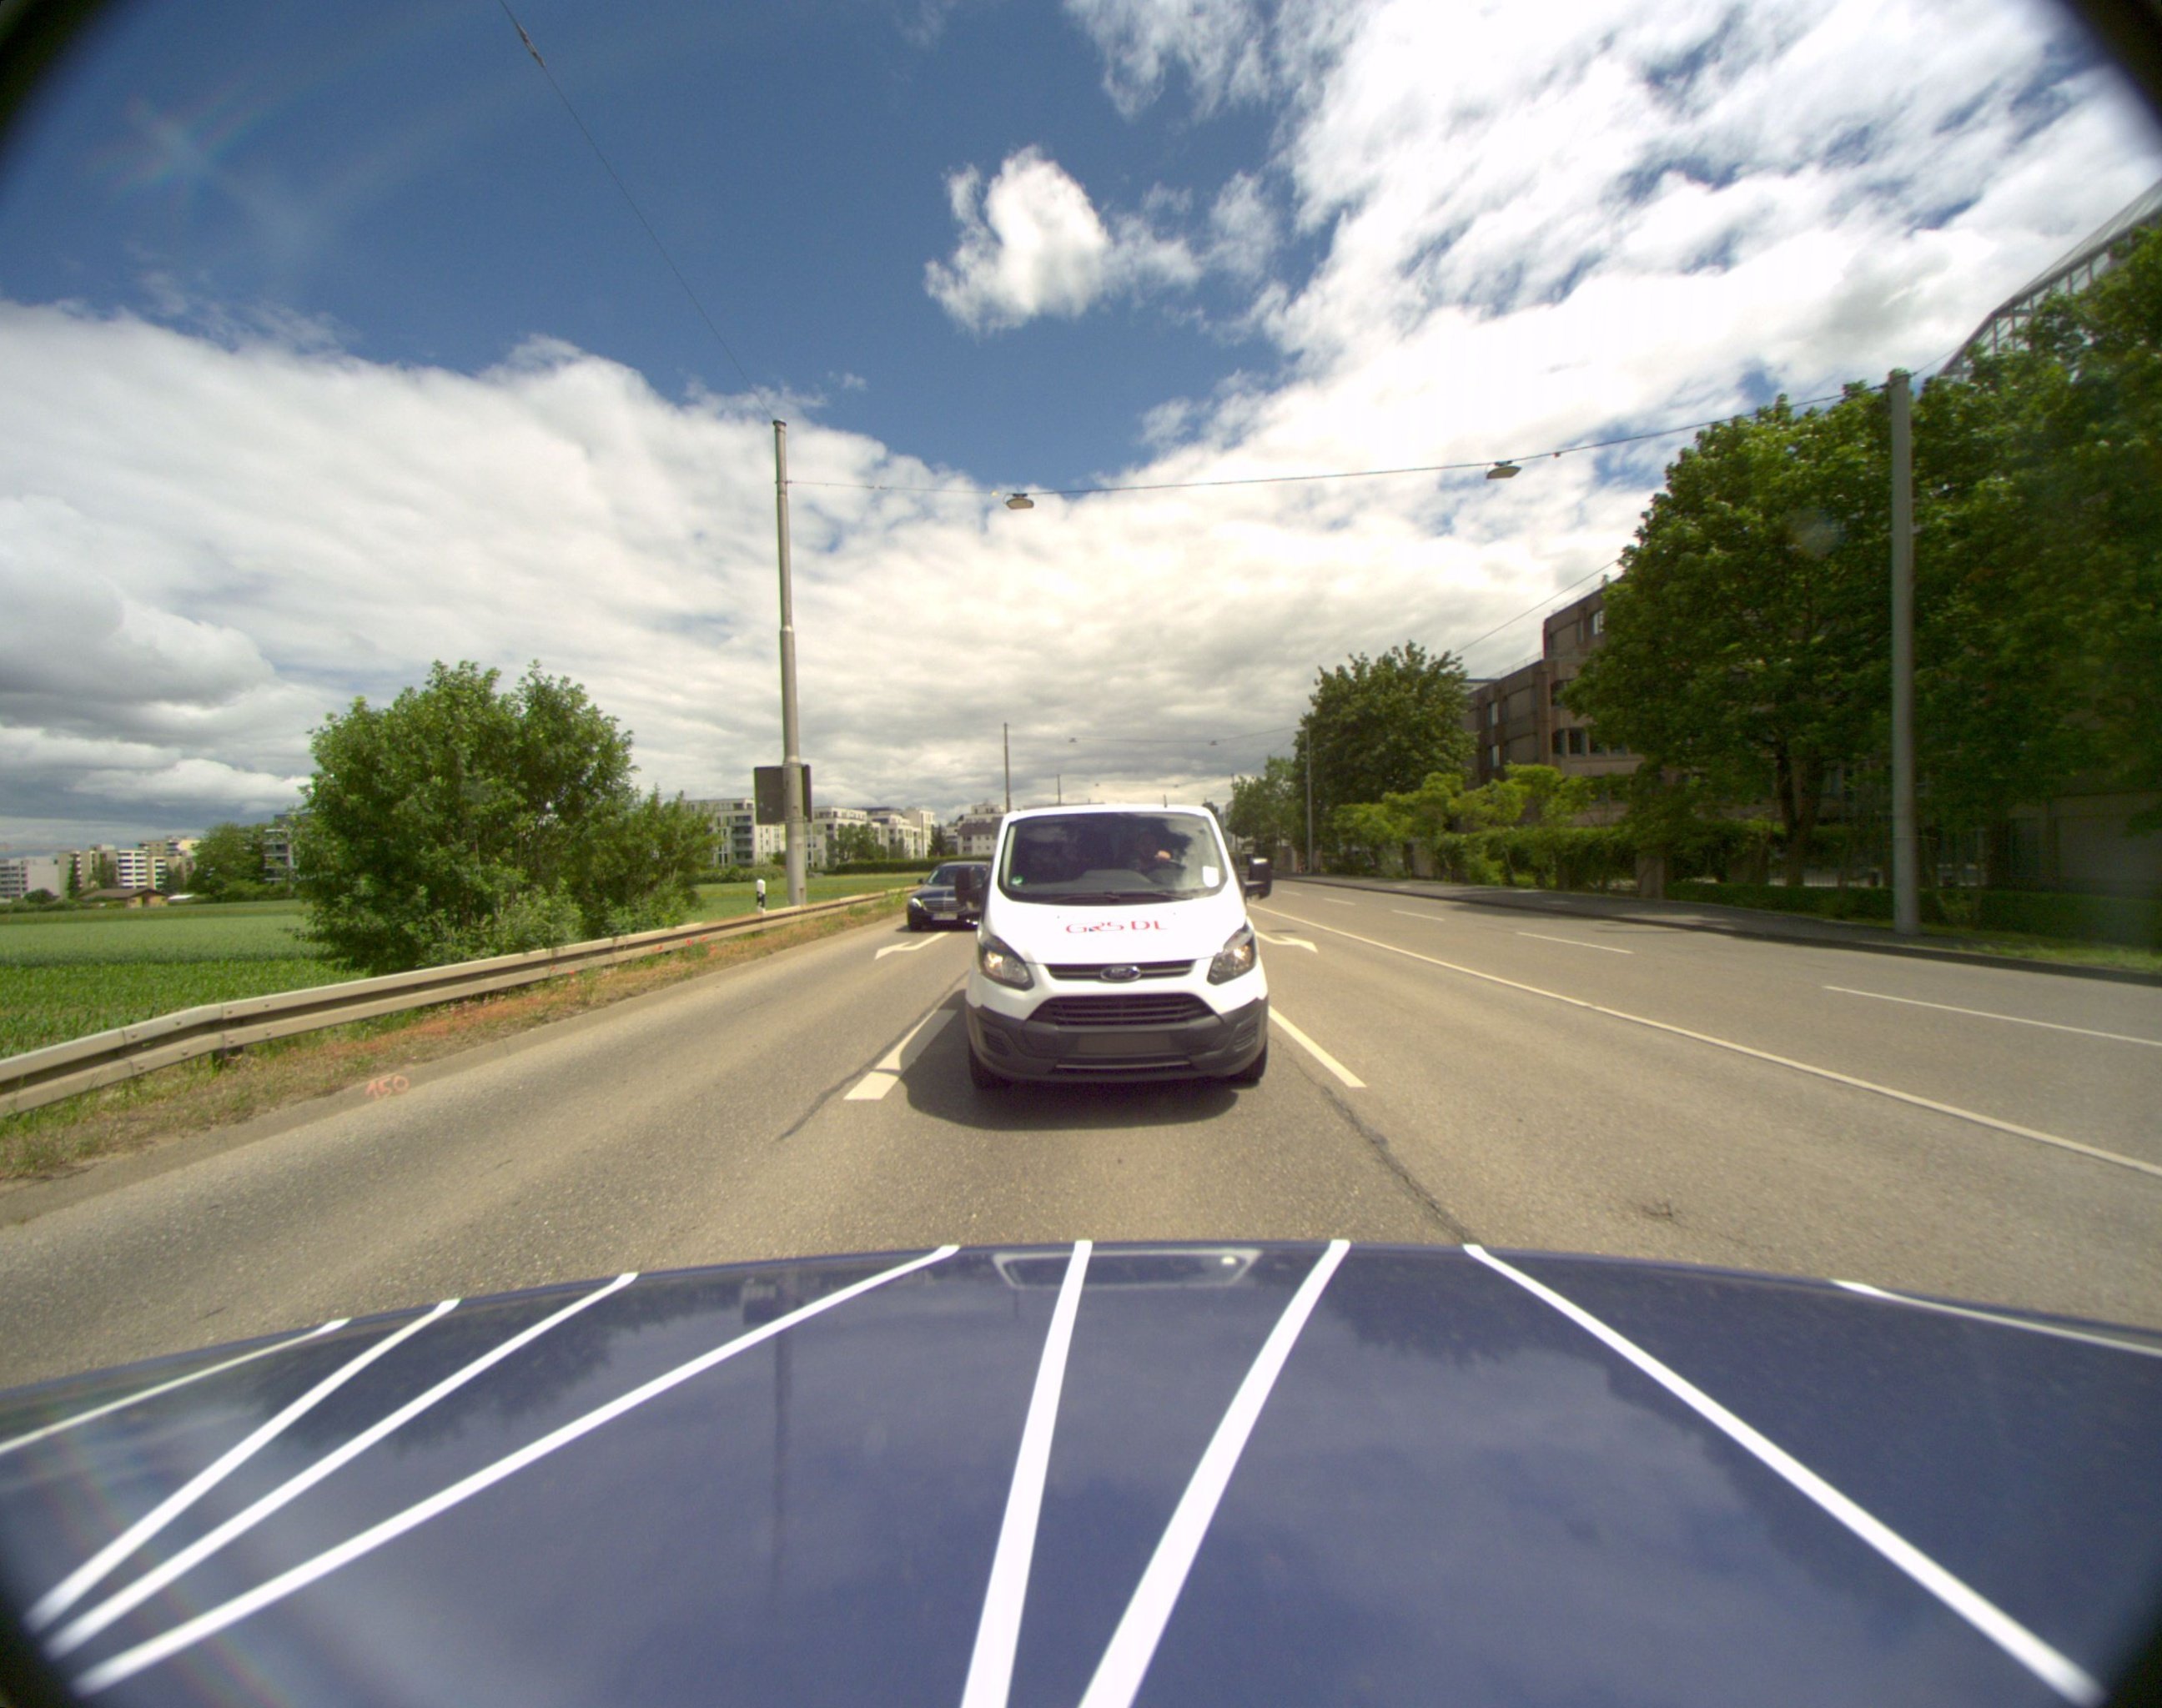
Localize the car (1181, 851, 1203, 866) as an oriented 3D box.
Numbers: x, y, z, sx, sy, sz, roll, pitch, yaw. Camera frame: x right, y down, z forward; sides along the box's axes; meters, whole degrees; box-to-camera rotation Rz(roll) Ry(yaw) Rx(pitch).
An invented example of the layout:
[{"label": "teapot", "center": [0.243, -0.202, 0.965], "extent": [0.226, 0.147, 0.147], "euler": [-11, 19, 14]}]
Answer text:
[{"label": "car", "center": [12.364, 0.460, 84.755], "extent": [1.872, 1.605, 4.572], "euler": [-1, 1, 3]}]

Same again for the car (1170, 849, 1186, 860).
[{"label": "car", "center": [13.926, 0.053, 109.720], "extent": [1.801, 1.576, 4.313], "euler": [-2, 1, 1]}]

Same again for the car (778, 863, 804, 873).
[{"label": "car", "center": [-59.241, 2.842, 155.101], "extent": [4.436, 2.002, 2.000], "euler": [-1, 1, 2]}]

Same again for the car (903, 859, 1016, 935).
[{"label": "car", "center": [-2.712, 0.962, 18.082], "extent": [1.842, 1.528, 4.807], "euler": [-2, -2, 1]}]

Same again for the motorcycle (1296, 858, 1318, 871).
[{"label": "motorcycle", "center": [22.035, 1.007, 74.073], "extent": [1.905, 1.237, 0.746], "euler": [-1, 1, 1]}]

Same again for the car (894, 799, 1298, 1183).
[{"label": "car", "center": [0.277, 0.695, 6.771], "extent": [1.998, 1.907, 5.883], "euler": [-1, 0, 4]}]
